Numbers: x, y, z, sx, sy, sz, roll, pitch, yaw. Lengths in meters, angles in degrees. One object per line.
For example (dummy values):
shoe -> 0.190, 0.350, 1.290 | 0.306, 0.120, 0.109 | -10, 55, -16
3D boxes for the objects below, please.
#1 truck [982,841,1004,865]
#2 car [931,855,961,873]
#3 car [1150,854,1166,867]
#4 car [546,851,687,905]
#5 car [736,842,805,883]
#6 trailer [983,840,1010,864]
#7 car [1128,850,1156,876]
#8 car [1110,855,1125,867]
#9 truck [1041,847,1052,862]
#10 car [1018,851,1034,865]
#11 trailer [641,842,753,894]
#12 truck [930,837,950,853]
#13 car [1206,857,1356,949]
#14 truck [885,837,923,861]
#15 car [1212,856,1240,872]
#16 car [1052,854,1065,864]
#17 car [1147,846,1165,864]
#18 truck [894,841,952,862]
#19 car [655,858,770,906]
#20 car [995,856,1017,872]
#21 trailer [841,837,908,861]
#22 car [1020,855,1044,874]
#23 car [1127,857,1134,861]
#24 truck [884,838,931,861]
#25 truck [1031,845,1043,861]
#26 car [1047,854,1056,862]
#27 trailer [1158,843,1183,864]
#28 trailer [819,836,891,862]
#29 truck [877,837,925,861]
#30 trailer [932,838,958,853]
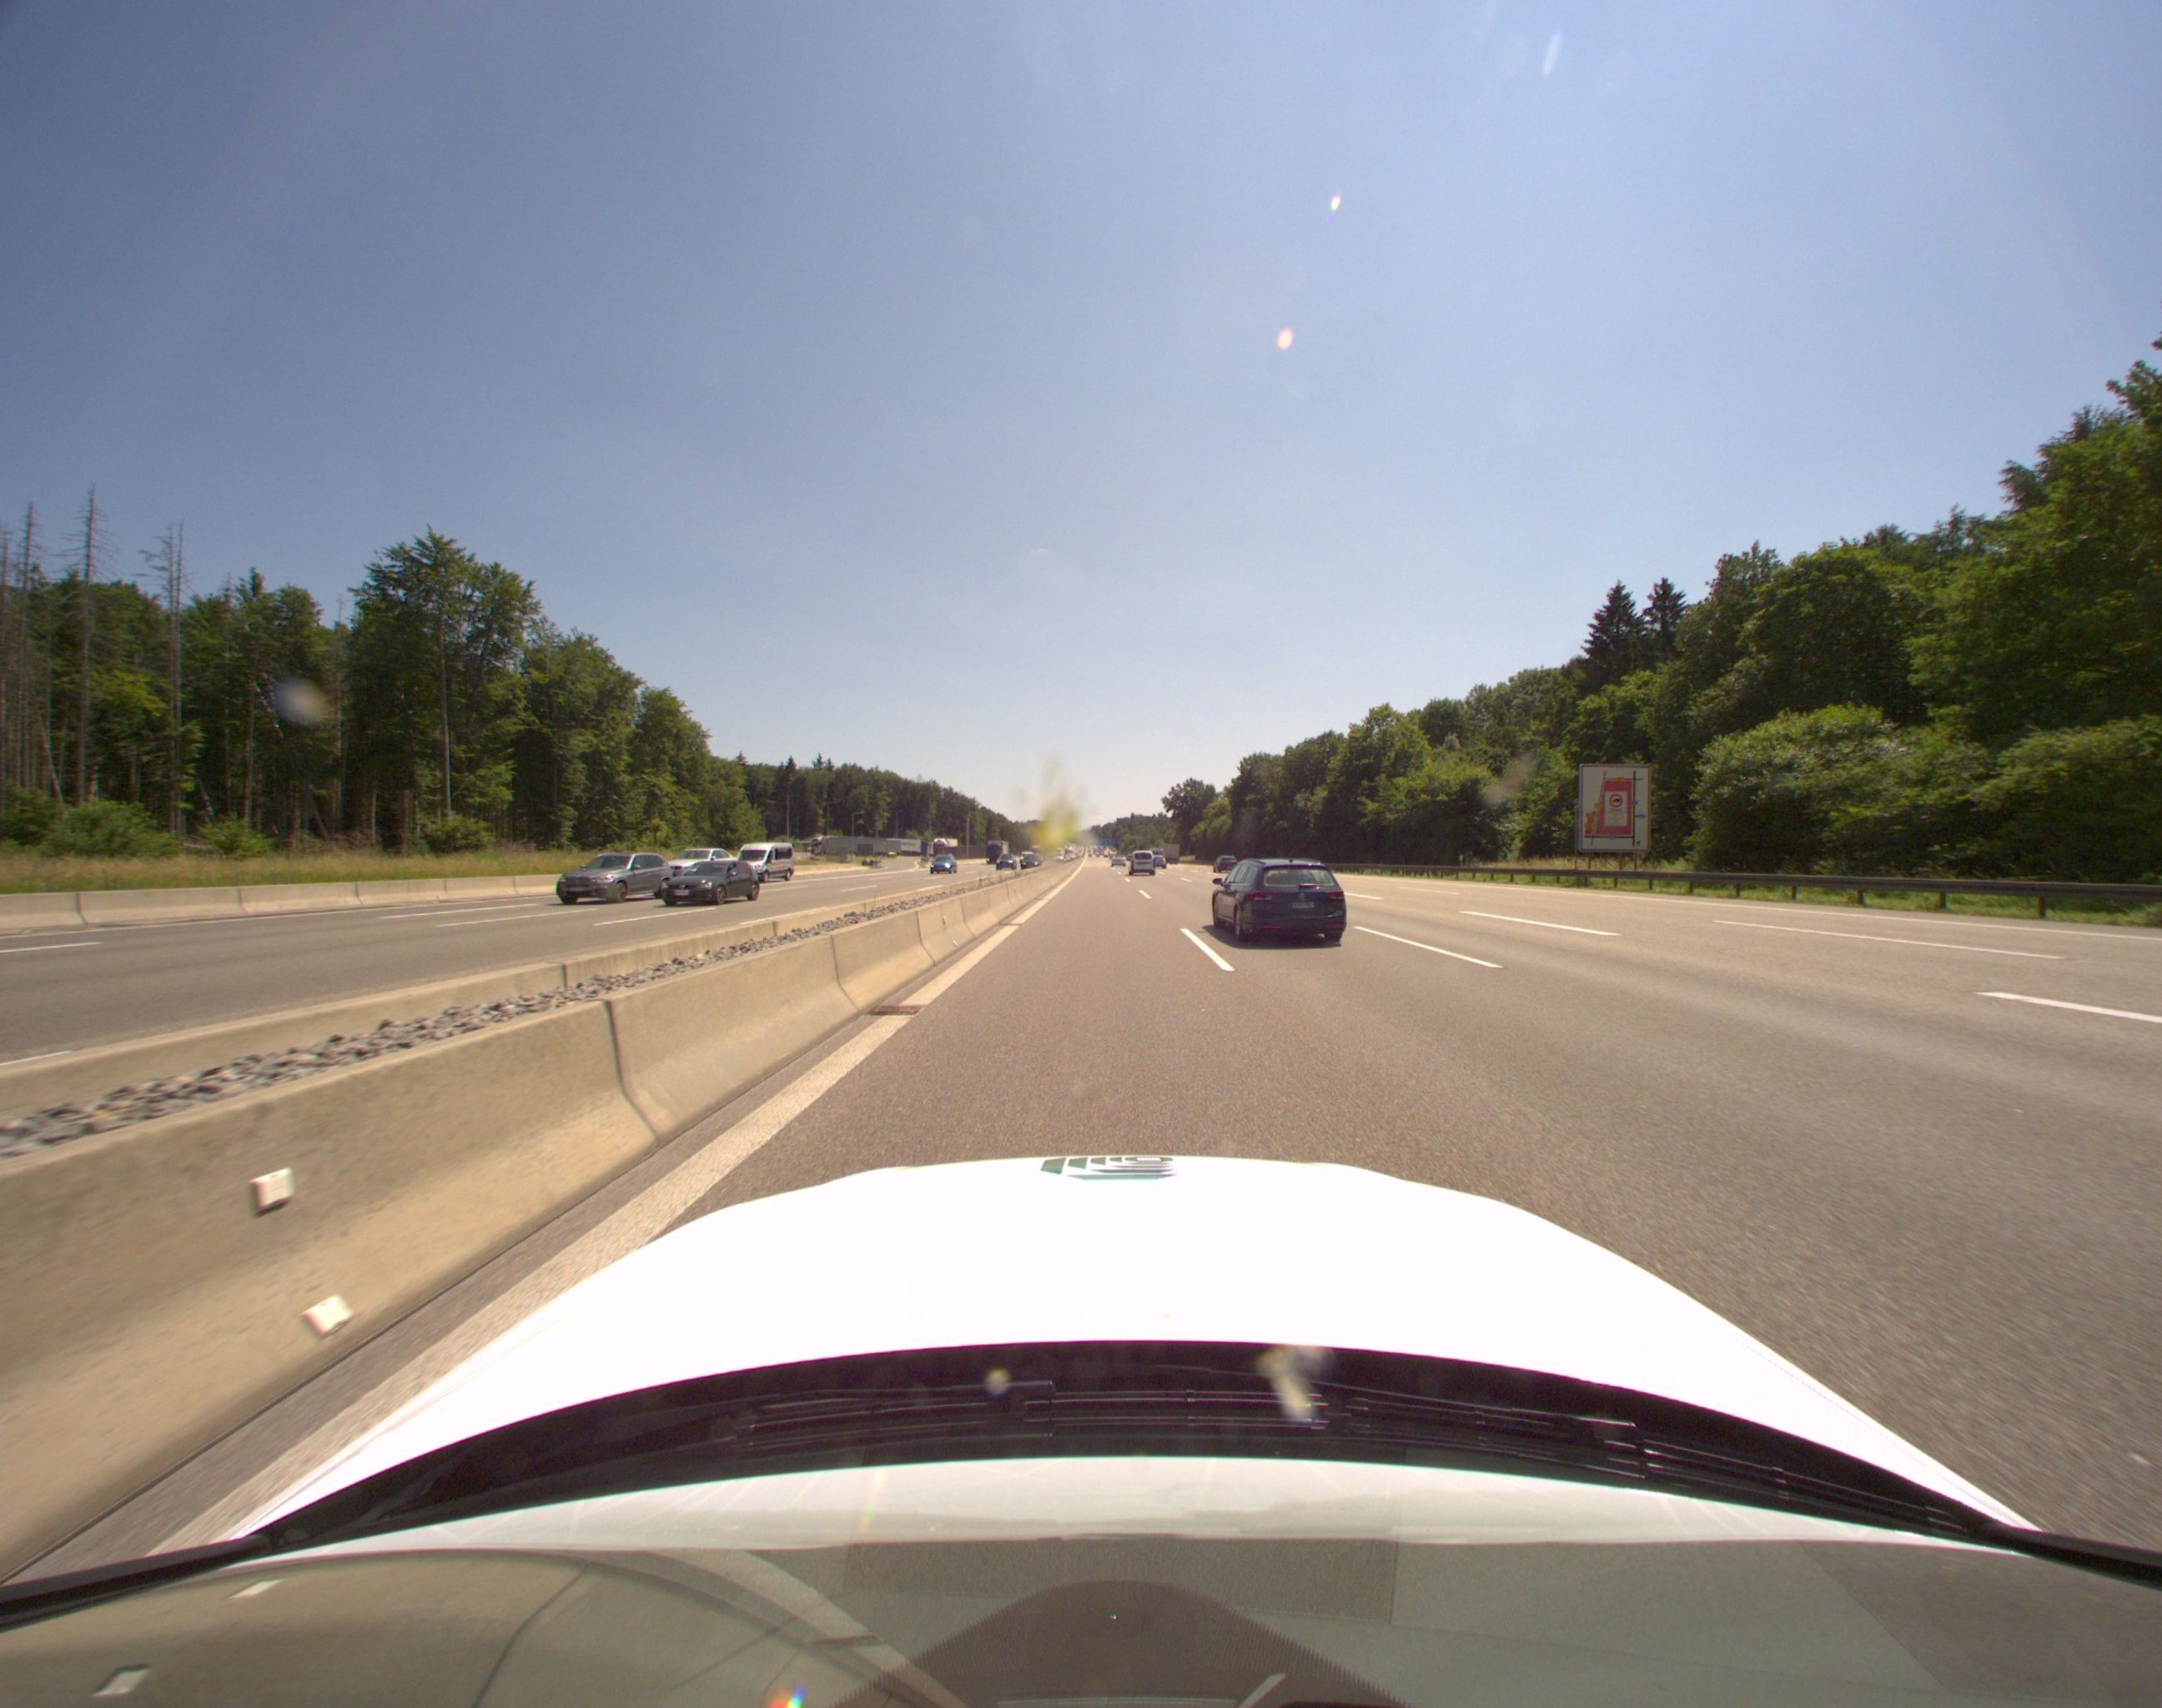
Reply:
truck -> -15.142, -0.165, 140.688 | 3.277, 3.930, 5.539 | 0, 0, 0
car -> -11.797, 0.857, 71.391 | 1.723, 1.570, 4.674 | -1, 0, 1
car -> 8.454, 0.708, 89.987 | 1.498, 1.500, 3.650 | 0, 0, 1
car -> -16.705, 0.790, 29.707 | 1.807, 1.759, 5.584 | -1, 0, 1
car -> -19.687, 0.514, 51.956 | 1.942, 2.412, 6.344 | -1, 0, 0
trailer -> -15.141, -0.323, 147.056 | 3.331, 4.001, 14.278 | 0, 0, 0
car -> 4.513, 0.668, 61.072 | 1.853, 1.826, 4.613 | 0, 0, 1
car -> 4.716, 0.899, 106.686 | 1.837, 1.629, 4.553 | 0, 0, 0
truck -> -9.775, 0.132, 230.609 | 2.726, 4.031, 6.781 | 0, 0, 0
car -> -8.215, 0.646, 121.627 | 1.986, 2.014, 5.130 | 0, 0, 1
trailer -> -16.587, 0.570, 35.631 | 1.848, 2.051, 6.153 | -1, 0, 1
truck -> -28.808, -1.801, 166.084 | 2.917, 3.124, 6.202 | 0, 0, 0
car -> 3.564, 0.790, 15.460 | 1.723, 1.447, 4.962 | -1, 0, 1
truck -> -42.444, -1.107, 195.547 | 3.188, 5.613, 8.538 | 0, 0, 45
car -> 12.214, 0.834, 68.881 | 1.665, 1.273, 4.290 | -1, 0, 1
car -> -3.992, 0.889, 146.051 | 1.986, 1.797, 5.130 | 0, 0, 1
car -> 11.336, 0.095, 123.489 | 2.136, 2.652, 5.710 | 1, 1, 0
truck -> -43.331, -0.697, 224.071 | 16.807, 5.613, 3.408 | 1, 0, -45
car -> -12.312, 0.881, 27.557 | 1.723, 1.464, 4.577 | -1, 0, 1
car -> -8.069, 1.081, 88.545 | 1.821, 1.699, 5.004 | -1, 0, 1
trailer -> -44.966, -0.929, 178.301 | 3.184, 5.072, 14.651 | 0, 0, 45
car -> -4.648, 0.974, 78.142 | 1.843, 1.677, 5.045 | -1, 0, 1
car -> 14.311, 1.447, 235.438 | 1.829, 1.338, 3.643 | 0, 0, 0
truck -> -43.444, -1.065, 204.400 | 3.188, 5.613, 11.605 | 0, 0, 45
truck -> -10.931, -0.243, 203.610 | 2.519, 4.049, 6.472 | 0, 0, 0
car -> -7.679, 1.137, 209.959 | 1.986, 2.014, 5.130 | 0, 0, 1
trailer -> 17.816, -0.198, 162.789 | 3.277, 3.930, 13.888 | 2, 1, 0
trailer -> -46.177, -0.990, 167.048 | 3.091, 5.072, 14.651 | 0, 0, 45
truck -> -43.908, -1.095, 198.890 | 3.188, 5.613, 11.605 | 0, 0, 45
trailer -> -28.767, -1.741, 172.989 | 2.962, 3.124, 14.608 | 0, 0, 0
